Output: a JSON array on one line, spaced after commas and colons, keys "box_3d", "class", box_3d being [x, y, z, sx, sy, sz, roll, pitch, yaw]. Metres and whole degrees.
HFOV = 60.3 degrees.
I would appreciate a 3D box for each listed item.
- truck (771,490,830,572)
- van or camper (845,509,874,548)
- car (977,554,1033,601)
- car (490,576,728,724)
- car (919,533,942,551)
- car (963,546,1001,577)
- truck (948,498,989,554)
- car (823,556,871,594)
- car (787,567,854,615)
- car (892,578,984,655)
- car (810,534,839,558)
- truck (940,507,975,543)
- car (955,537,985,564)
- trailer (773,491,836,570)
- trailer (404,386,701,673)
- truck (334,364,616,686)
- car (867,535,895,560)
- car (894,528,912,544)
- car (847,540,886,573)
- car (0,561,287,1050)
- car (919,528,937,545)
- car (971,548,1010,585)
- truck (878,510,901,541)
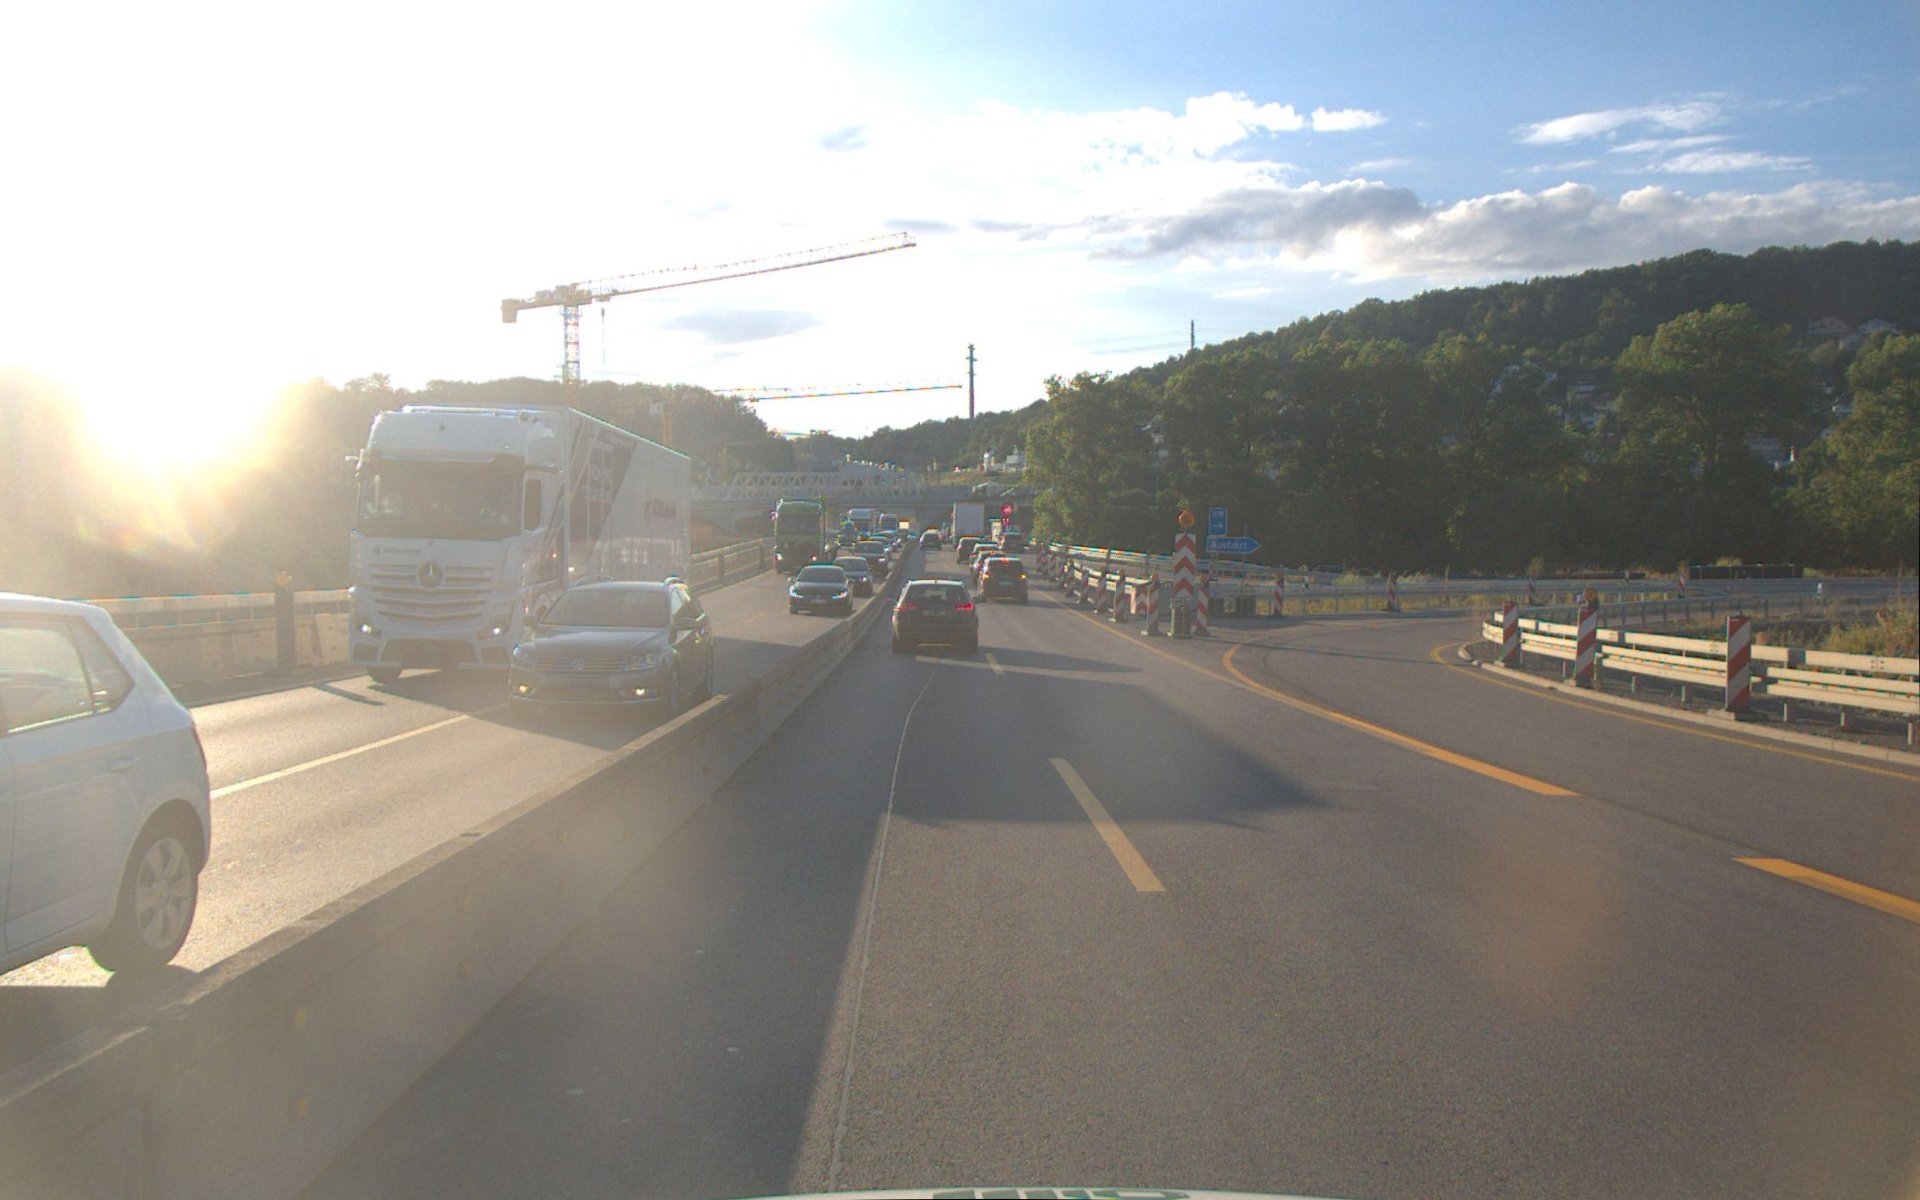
[{"box_3d": [-8.474, -3.659, 88.317, 2.714, 4.151, 5.774, 1, 2, -2], "class": "truck"}, {"box_3d": [-9.470, -6.790, 156.498, 2.408, 3.558, 7.414, 1, 3, -1], "class": "van or camper"}, {"box_3d": [1.652, -0.810, 61.868, 1.776, 1.643, 4.524, 2, 0, -2], "class": "car"}, {"box_3d": [-3.912, 0.497, 19.195, 1.812, 1.509, 4.510, 0, 0, 0], "class": "car"}, {"box_3d": [-2.458, -4.802, 136.457, 1.825, 1.444, 4.000, 2, 2, -1], "class": "car"}, {"box_3d": [1.197, -2.124, 91.200, 1.838, 1.627, 4.964, 0, 2, -2], "class": "car"}, {"box_3d": [0.640, -6.757, 148.676, 3.317, 4.574, 15.272, 1, 4, -1], "class": "truck"}, {"box_3d": [-4.513, -1.012, 66.370, 1.681, 1.434, 4.327, 1, 1, -1], "class": "car"}, {"box_3d": [-4.340, -0.318, 52.003, 1.799, 1.434, 4.494, 1, 1, -1], "class": "car"}, {"box_3d": [-0.507, 0.298, 33.894, 1.734, 1.414, 3.998, 1, 1, -3], "class": "car"}, {"box_3d": [-10.384, -4.167, 126.954, 1.953, 1.795, 4.440, 1, 2, -1], "class": "car"}, {"box_3d": [-0.365, -10.086, 221.856, 3.813, 4.575, 13.844, 1, 3, -3], "class": "truck"}, {"box_3d": [0.627, -3.188, 106.484, 1.778, 1.660, 4.410, 1, 2, -2], "class": "car"}, {"box_3d": [-8.723, -3.920, 94.323, 2.718, 4.101, 13.680, 1, 2, -2], "class": "trailer"}, {"box_3d": [-7.302, -1.120, 32.189, 2.479, 4.287, 13.931, 2, 0, -1], "class": "trailer"}, {"box_3d": [-7.227, -1.038, 25.541, 2.501, 4.294, 6.049, 2, 0, -1], "class": "truck"}, {"box_3d": [-6.158, -4.078, 129.026, 1.953, 1.825, 3.999, 2, 0, -1], "class": "car"}, {"box_3d": [-6.052, -6.813, 175.310, 1.790, 1.668, 4.529, 0, 3, -2], "class": "car"}, {"box_3d": [-4.905, -2.271, 87.052, 1.873, 1.637, 4.494, 1, 1, -1], "class": "car"}, {"box_3d": [-3.861, 0.653, 5.184, 1.752, 1.514, 4.219, -1, 0, 0], "class": "car"}, {"box_3d": [-3.320, -6.604, 172.329, 1.884, 1.579, 3.999, 1, -1, -1], "class": "car"}, {"box_3d": [1.421, -1.596, 78.104, 1.738, 1.613, 4.136, 1, 2, 0], "class": "car"}, {"box_3d": [-9.486, -10.066, 223.469, 2.757, 4.118, 5.673, 0, 2, 0], "class": "truck"}]
